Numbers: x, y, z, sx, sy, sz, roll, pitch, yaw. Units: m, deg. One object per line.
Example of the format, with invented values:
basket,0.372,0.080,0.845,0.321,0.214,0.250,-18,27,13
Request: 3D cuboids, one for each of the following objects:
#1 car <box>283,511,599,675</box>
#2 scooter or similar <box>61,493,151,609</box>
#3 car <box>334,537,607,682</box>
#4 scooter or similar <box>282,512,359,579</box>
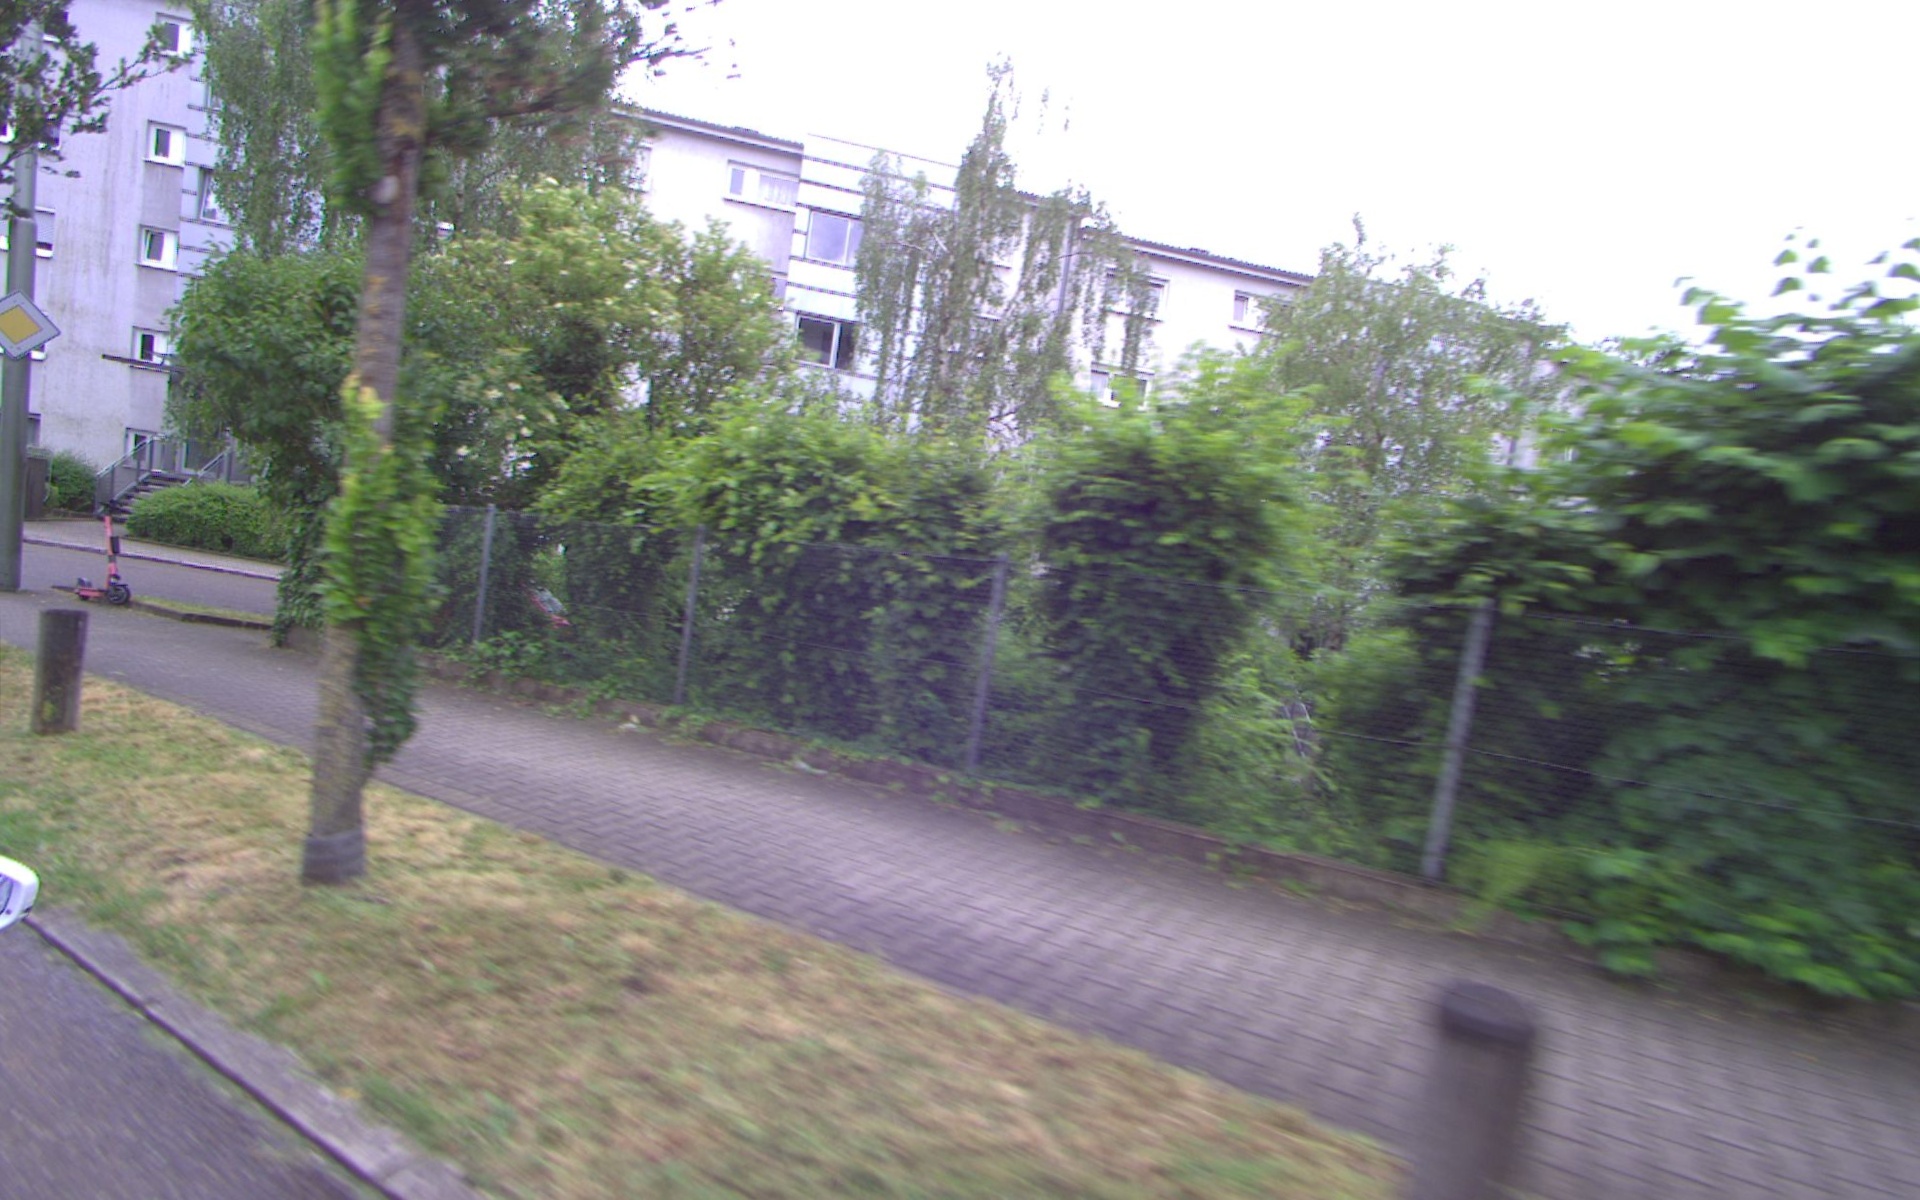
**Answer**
car,-6.541,-0.112,12.576,3.932,1.452,1.507,8,-1,30
scooter or similar,-10.284,-0.599,12.100,1.246,1.270,0.343,6,0,30
car,-7.890,0.126,16.534,3.517,1.540,1.640,13,2,-11
scooter or similar,-13.775,-1.185,21.684,1.184,1.200,0.496,11,6,-4
